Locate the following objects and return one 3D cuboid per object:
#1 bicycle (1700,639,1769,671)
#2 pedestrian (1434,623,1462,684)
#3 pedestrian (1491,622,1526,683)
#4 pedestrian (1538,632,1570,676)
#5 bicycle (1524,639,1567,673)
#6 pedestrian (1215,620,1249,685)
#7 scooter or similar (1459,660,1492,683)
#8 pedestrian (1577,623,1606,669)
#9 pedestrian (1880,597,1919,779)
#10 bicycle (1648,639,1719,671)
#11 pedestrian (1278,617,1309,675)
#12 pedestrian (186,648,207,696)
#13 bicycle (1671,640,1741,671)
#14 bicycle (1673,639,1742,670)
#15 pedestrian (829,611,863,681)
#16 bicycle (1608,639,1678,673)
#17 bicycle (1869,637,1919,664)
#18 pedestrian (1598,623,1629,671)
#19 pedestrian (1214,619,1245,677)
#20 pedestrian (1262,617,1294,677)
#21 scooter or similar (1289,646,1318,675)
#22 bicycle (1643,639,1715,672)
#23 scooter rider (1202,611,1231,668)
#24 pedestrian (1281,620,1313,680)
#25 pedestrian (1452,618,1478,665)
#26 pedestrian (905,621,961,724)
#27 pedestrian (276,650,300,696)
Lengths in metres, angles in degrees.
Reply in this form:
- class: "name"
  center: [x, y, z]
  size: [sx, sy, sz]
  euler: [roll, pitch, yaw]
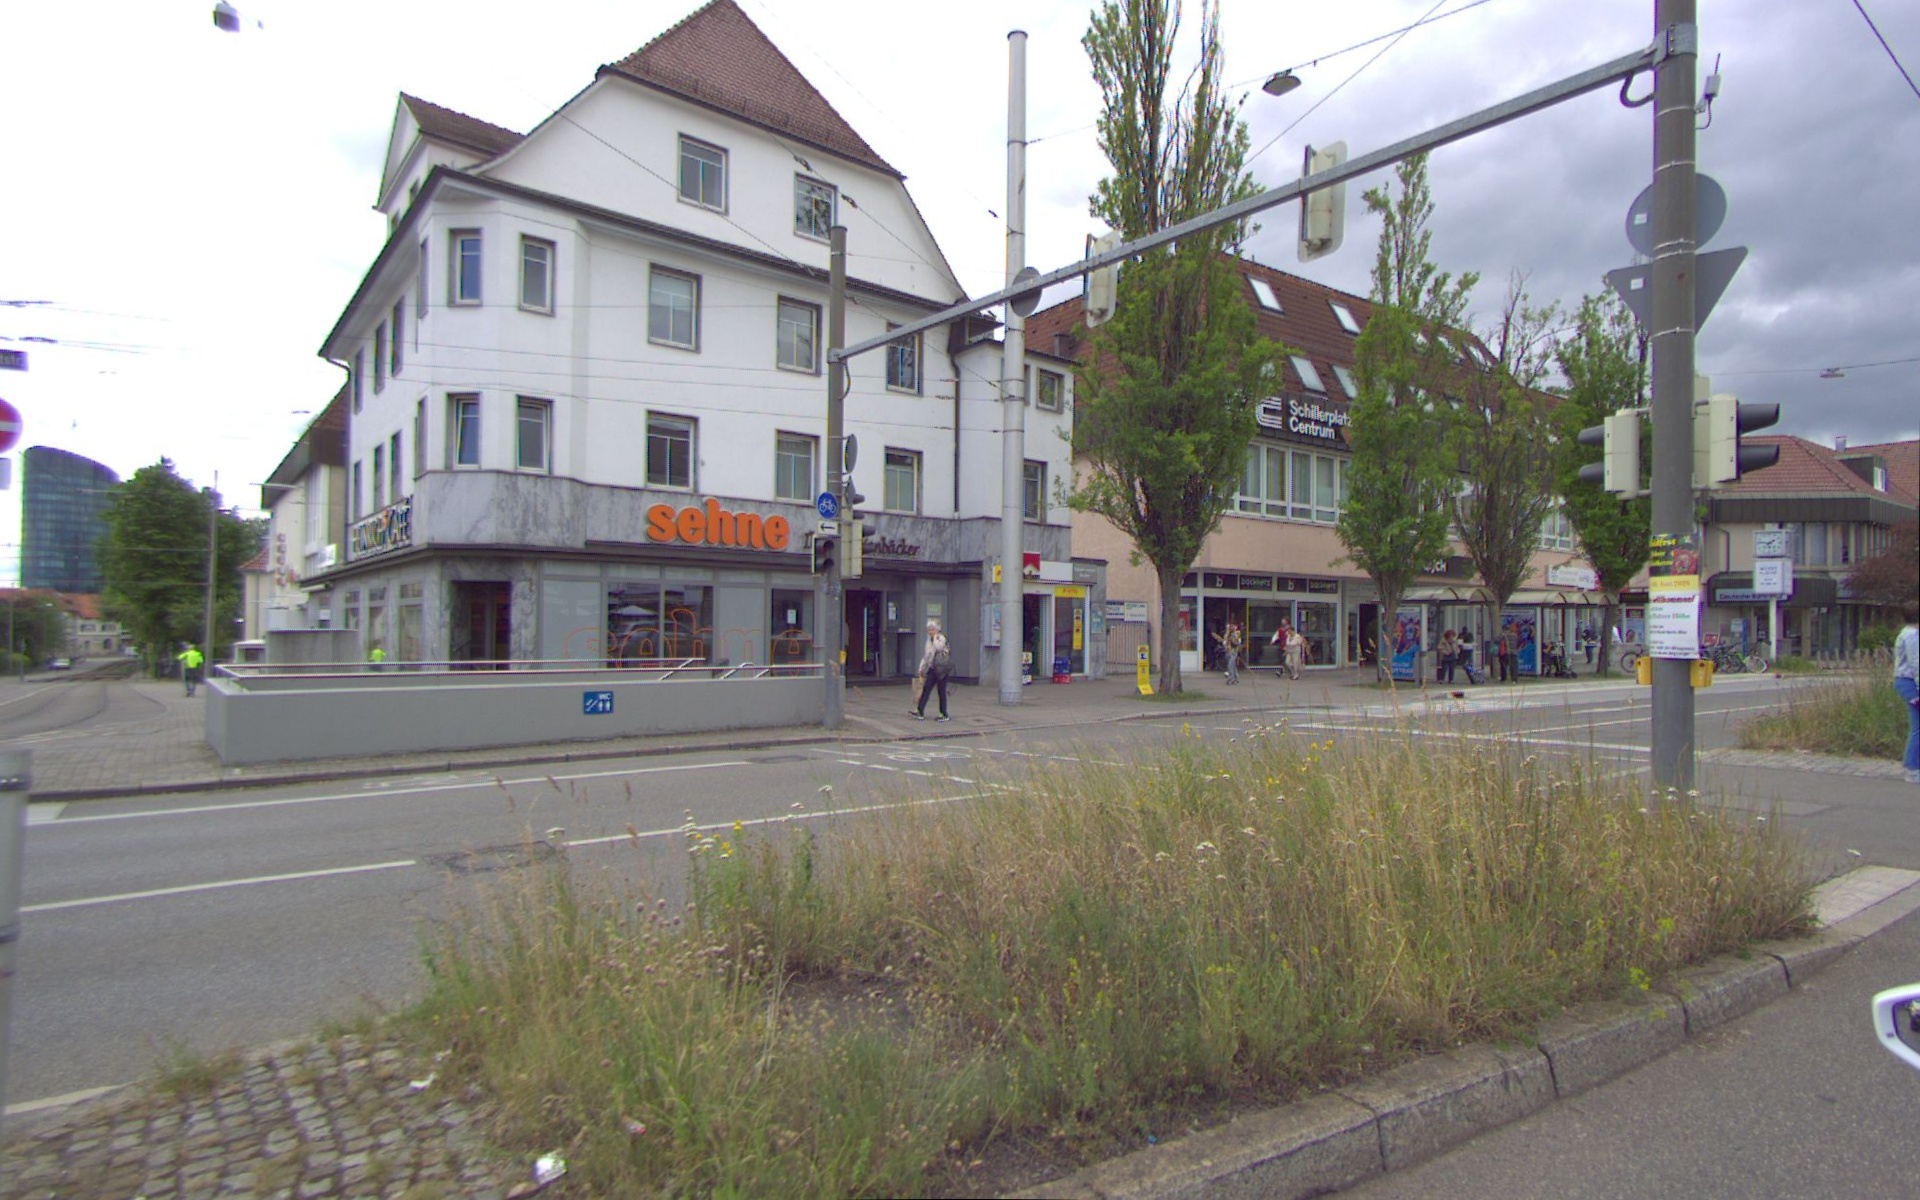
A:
- class: "bicycle"
  center: [29.033, 2.043, 37.679]
  size: [0.644, 1.105, 1.999]
  euler: [1, -1, -42]
- class: "pedestrian"
  center: [13.922, 1.512, 28.645]
  size: [0.579, 1.674, 0.711]
  euler: [0, 0, 38]
- class: "pedestrian"
  center: [15.500, 1.470, 28.388]
  size: [0.704, 1.674, 0.584]
  euler: [0, 0, -23]
- class: "pedestrian"
  center: [19.329, 1.737, 32.682]
  size: [0.581, 1.382, 0.708]
  euler: [0, 0, -31]
- class: "bicycle"
  center: [19.845, 1.889, 34.021]
  size: [1.912, 1.105, 0.530]
  euler: [1, -1, -36]
- class: "pedestrian"
  center: [7.208, 1.385, 26.634]
  size: [0.609, 1.656, 0.582]
  euler: [0, 2, -35]
- class: "scooter or similar"
  center: [14.660, 2.037, 28.578]
  size: [0.695, 0.609, 0.588]
  euler: [1, -1, -34]
- class: "pedestrian"
  center: [25.547, 1.843, 40.626]
  size: [0.748, 1.788, 0.720]
  euler: [0, 2, -36]
- class: "pedestrian"
  center: [8.982, 0.803, 9.365]
  size: [0.658, 1.656, 0.498]
  euler: [1, -1, -40]
- class: "bicycle"
  center: [26.398, 1.991, 36.671]
  size: [0.644, 1.105, 1.999]
  euler: [1, -1, -42]
- class: "pedestrian"
  center: [10.243, 1.409, 30.861]
  size: [0.609, 1.735, 0.582]
  euler: [0, 2, -35]
- class: "pedestrian"
  center: [-27.898, 2.620, 36.707]
  size: [0.583, 1.656, 0.608]
  euler: [0, 2, -39]
- class: "bicycle"
  center: [27.532, 2.035, 37.115]
  size: [0.644, 1.105, 1.999]
  euler: [1, -1, -42]
- class: "bicycle"
  center: [28.004, 2.018, 37.653]
  size: [0.644, 1.105, 1.999]
  euler: [1, -1, -42]
- class: "pedestrian"
  center: [-2.790, 1.109, 24.511]
  size: [0.582, 1.656, 0.609]
  euler: [0, 2, -36]
- class: "bicycle"
  center: [24.477, 1.988, 36.034]
  size: [1.996, 1.105, 0.645]
  euler: [0, -1, 43]
- class: "bicycle"
  center: [40.964, 2.195, 43.745]
  size: [0.644, 1.105, 1.999]
  euler: [1, -1, -42]
- class: "pedestrian"
  center: [25.362, 1.800, 38.968]
  size: [0.748, 1.788, 0.720]
  euler: [0, 2, -36]
- class: "pedestrian"
  center: [7.881, 1.394, 29.340]
  size: [0.609, 1.656, 0.582]
  euler: [0, 2, -35]
- class: "pedestrian"
  center: [9.416, 1.377, 29.755]
  size: [0.609, 1.735, 0.582]
  euler: [0, 2, -35]
- class: "scooter or similar"
  center: [10.725, 1.879, 31.363]
  size: [0.695, 0.860, 0.588]
  euler: [1, -1, -34]
- class: "bicycle"
  center: [25.664, 1.972, 35.883]
  size: [0.643, 1.105, 2.003]
  euler: [1, -1, -37]
- class: "scooter rider"
  center: [8.038, 1.223, 31.512]
  size: [0.582, 1.735, 0.608]
  euler: [0, 2, -37]
- class: "pedestrian"
  center: [9.698, 1.431, 28.881]
  size: [0.609, 1.656, 0.582]
  euler: [0, 2, -35]
- class: "pedestrian"
  center: [18.302, 1.484, 36.398]
  size: [0.609, 1.656, 0.582]
  euler: [0, 2, -35]
- class: "pedestrian"
  center: [-0.467, 1.211, 17.063]
  size: [0.611, 1.656, 0.693]
  euler: [0, 2, -44]
- class: "pedestrian"
  center: [-25.711, 2.779, 38.431]
  size: [0.578, 1.656, 0.613]
  euler: [3, 2, 35]
